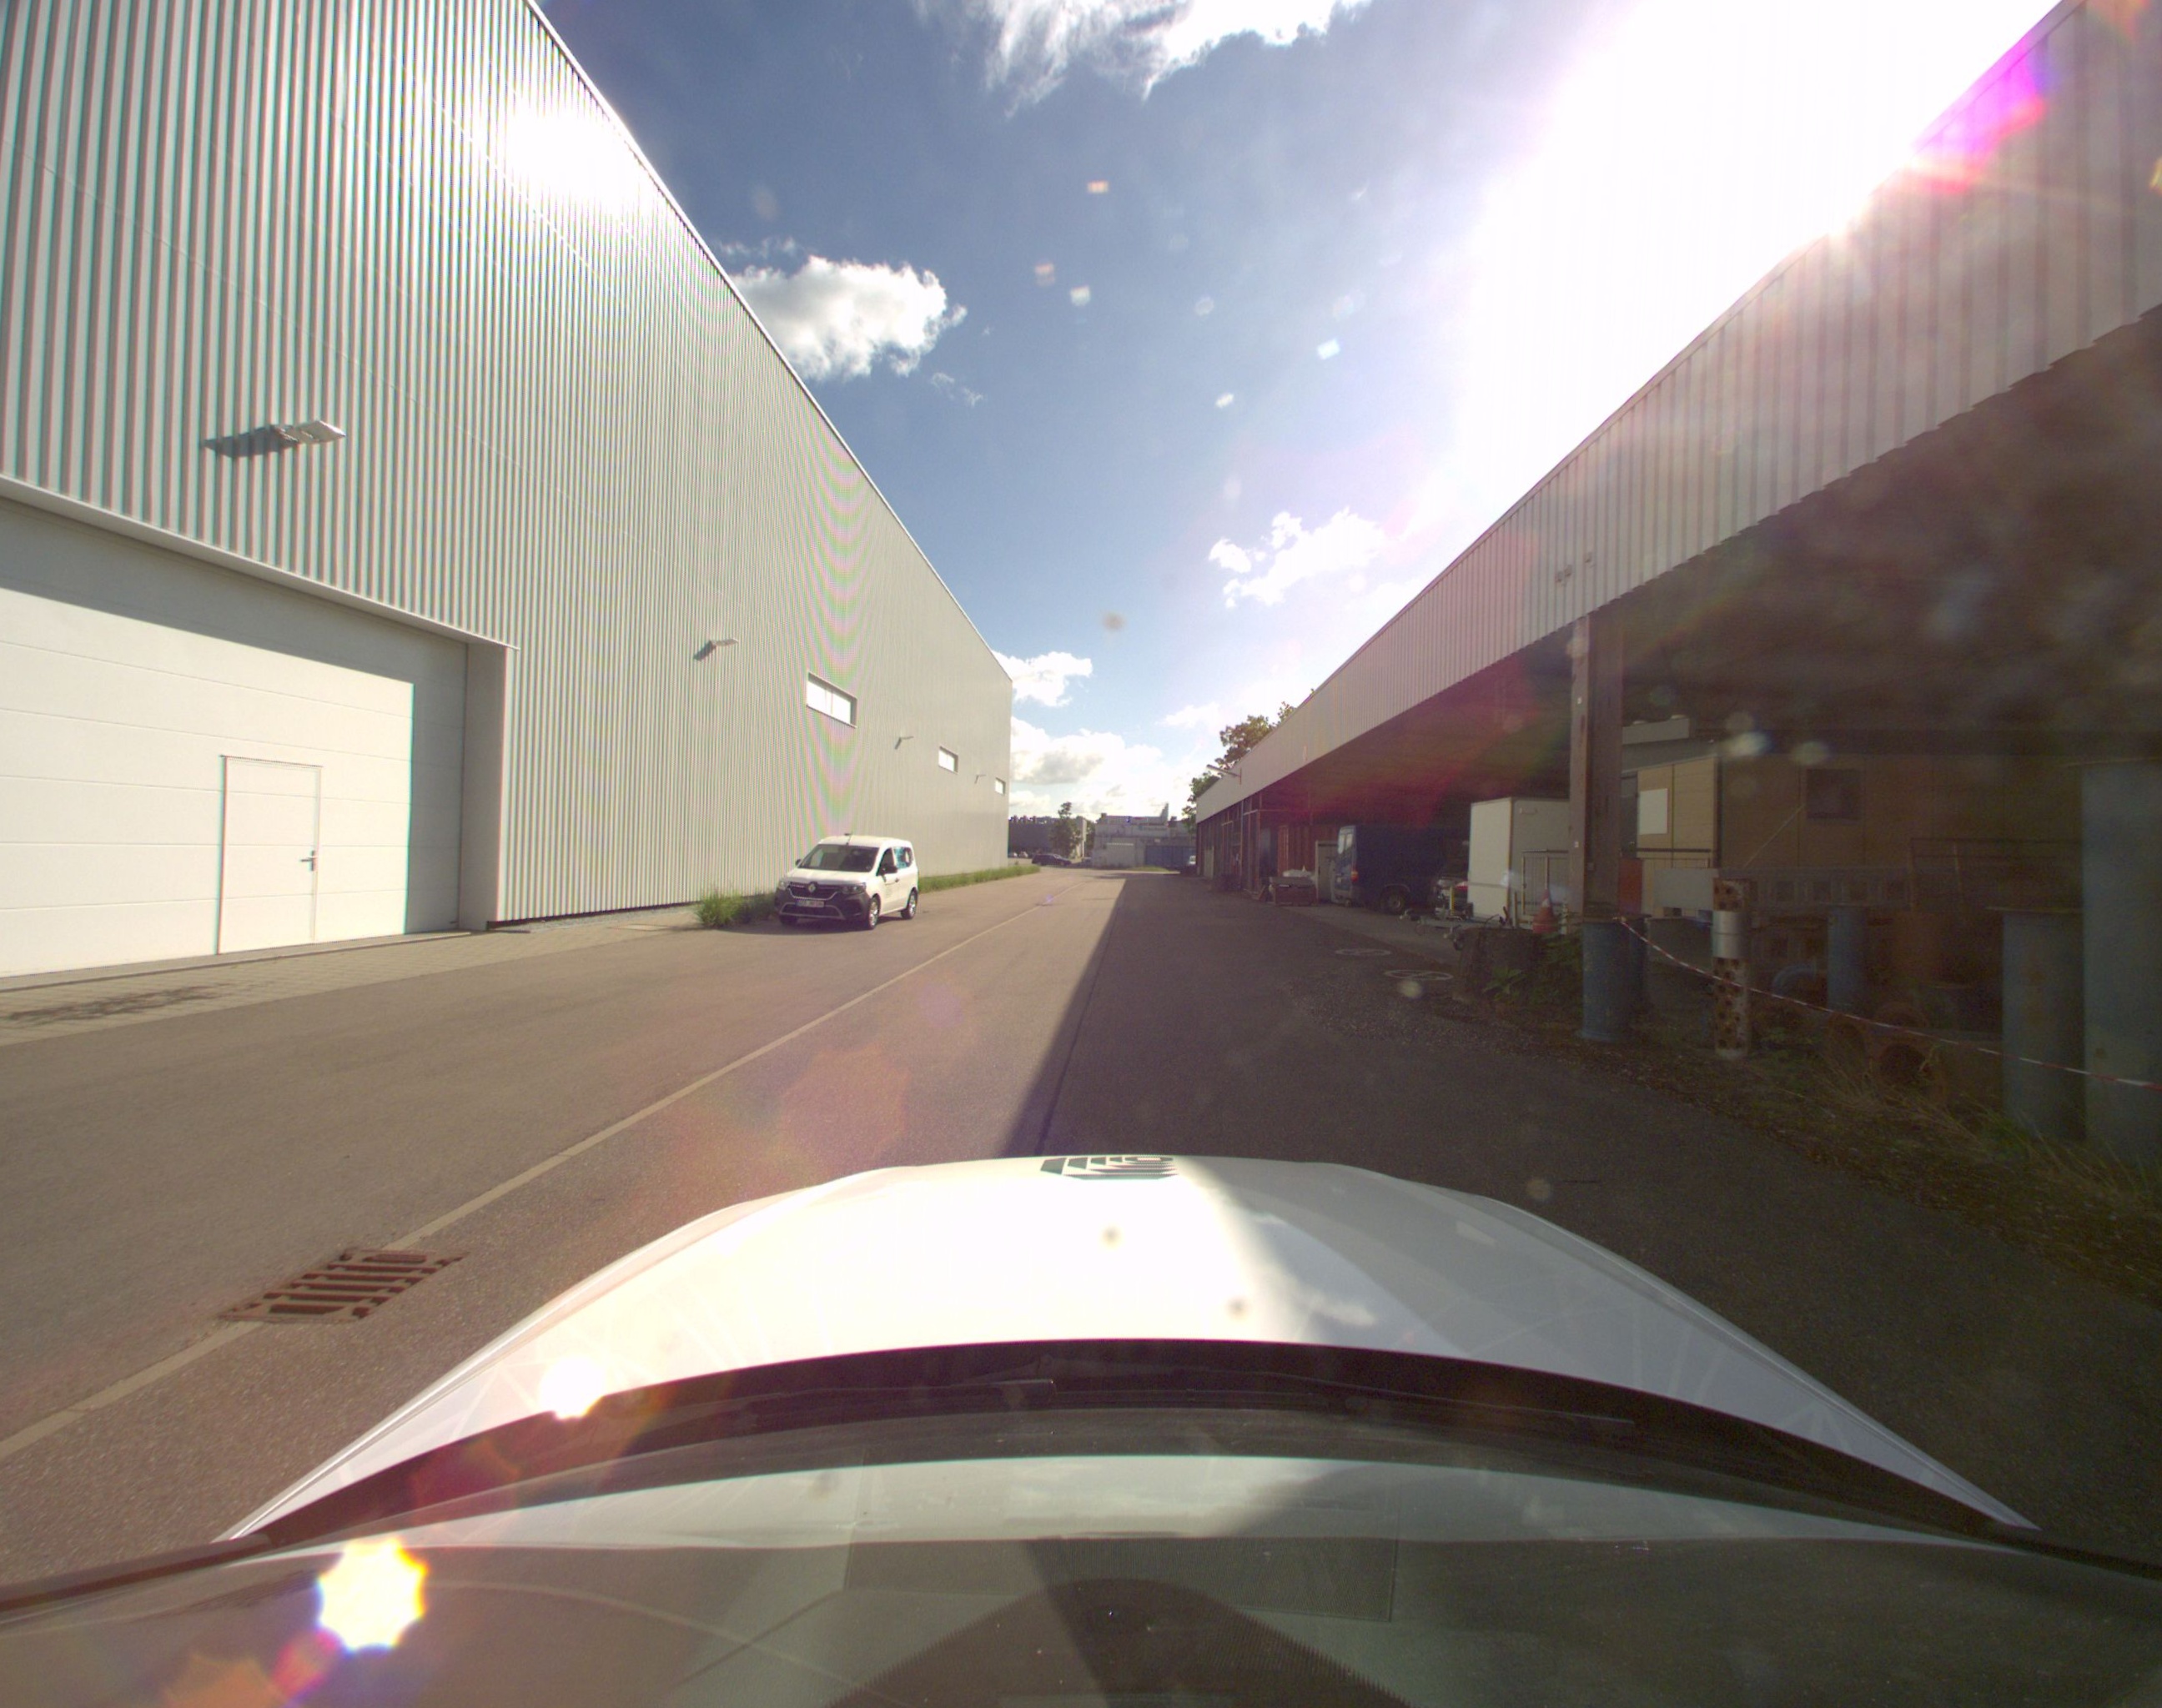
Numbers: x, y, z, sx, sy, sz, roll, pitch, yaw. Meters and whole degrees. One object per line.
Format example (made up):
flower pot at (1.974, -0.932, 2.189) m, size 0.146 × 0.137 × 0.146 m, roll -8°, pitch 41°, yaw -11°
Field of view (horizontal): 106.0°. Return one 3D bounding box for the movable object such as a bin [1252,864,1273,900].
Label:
movable object such as a bin at (6.085, 0.918, 27.287) m, size 0.578 × 1.164 × 1.241 m, roll 0°, pitch 0°, yaw 8°

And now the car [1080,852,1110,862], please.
car at (2.233, 0.462, 126.562) m, size 4.505 × 1.508 × 1.911 m, roll 1°, pitch 0°, yaw 4°

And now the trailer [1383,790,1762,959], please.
trailer at (7.426, 0.278, 12.776) m, size 4.785 × 2.391 × 1.831 m, roll 0°, pitch 0°, yaw 8°

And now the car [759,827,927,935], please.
car at (-4.725, 0.484, 16.896) m, size 1.882 × 1.845 × 4.362 m, roll 3°, pitch 0°, yaw 3°

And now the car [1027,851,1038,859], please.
car at (-11.579, 0.207, 195.227) m, size 2.184 × 1.736 × 4.003 m, roll -1°, pitch -1°, yaw 3°

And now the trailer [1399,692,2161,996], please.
trailer at (9.507, -0.116, 10.126) m, size 9.995 × 3.216 × 2.856 m, roll 0°, pitch 0°, yaw 3°

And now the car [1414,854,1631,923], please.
car at (9.881, 0.743, 18.435) m, size 3.975 × 1.472 × 1.787 m, roll 0°, pitch 0°, yaw -1°

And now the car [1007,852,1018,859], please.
car at (-16.605, 0.328, 196.849) m, size 1.985 × 1.736 × 4.003 m, roll -1°, pitch -1°, yaw 3°

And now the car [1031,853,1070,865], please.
car at (-3.675, 0.605, 99.201) m, size 4.504 × 1.508 × 1.911 m, roll 0°, pitch 0°, yaw 5°

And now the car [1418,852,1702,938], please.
car at (8.871, 0.725, 15.350) m, size 4.313 × 1.496 × 1.777 m, roll 0°, pitch 0°, yaw 1°

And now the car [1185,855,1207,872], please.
car at (12.058, 0.949, 85.623) m, size 1.985 × 1.585 × 4.176 m, roll 1°, pitch 1°, yaw 3°

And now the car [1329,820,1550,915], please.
car at (9.274, 0.335, 21.438) m, size 4.957 × 2.325 × 2.002 m, roll 1°, pitch 0°, yaw 3°

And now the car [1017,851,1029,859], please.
car at (-14.011, 0.276, 197.064) m, size 2.184 × 1.736 × 4.003 m, roll -1°, pitch -1°, yaw 3°
